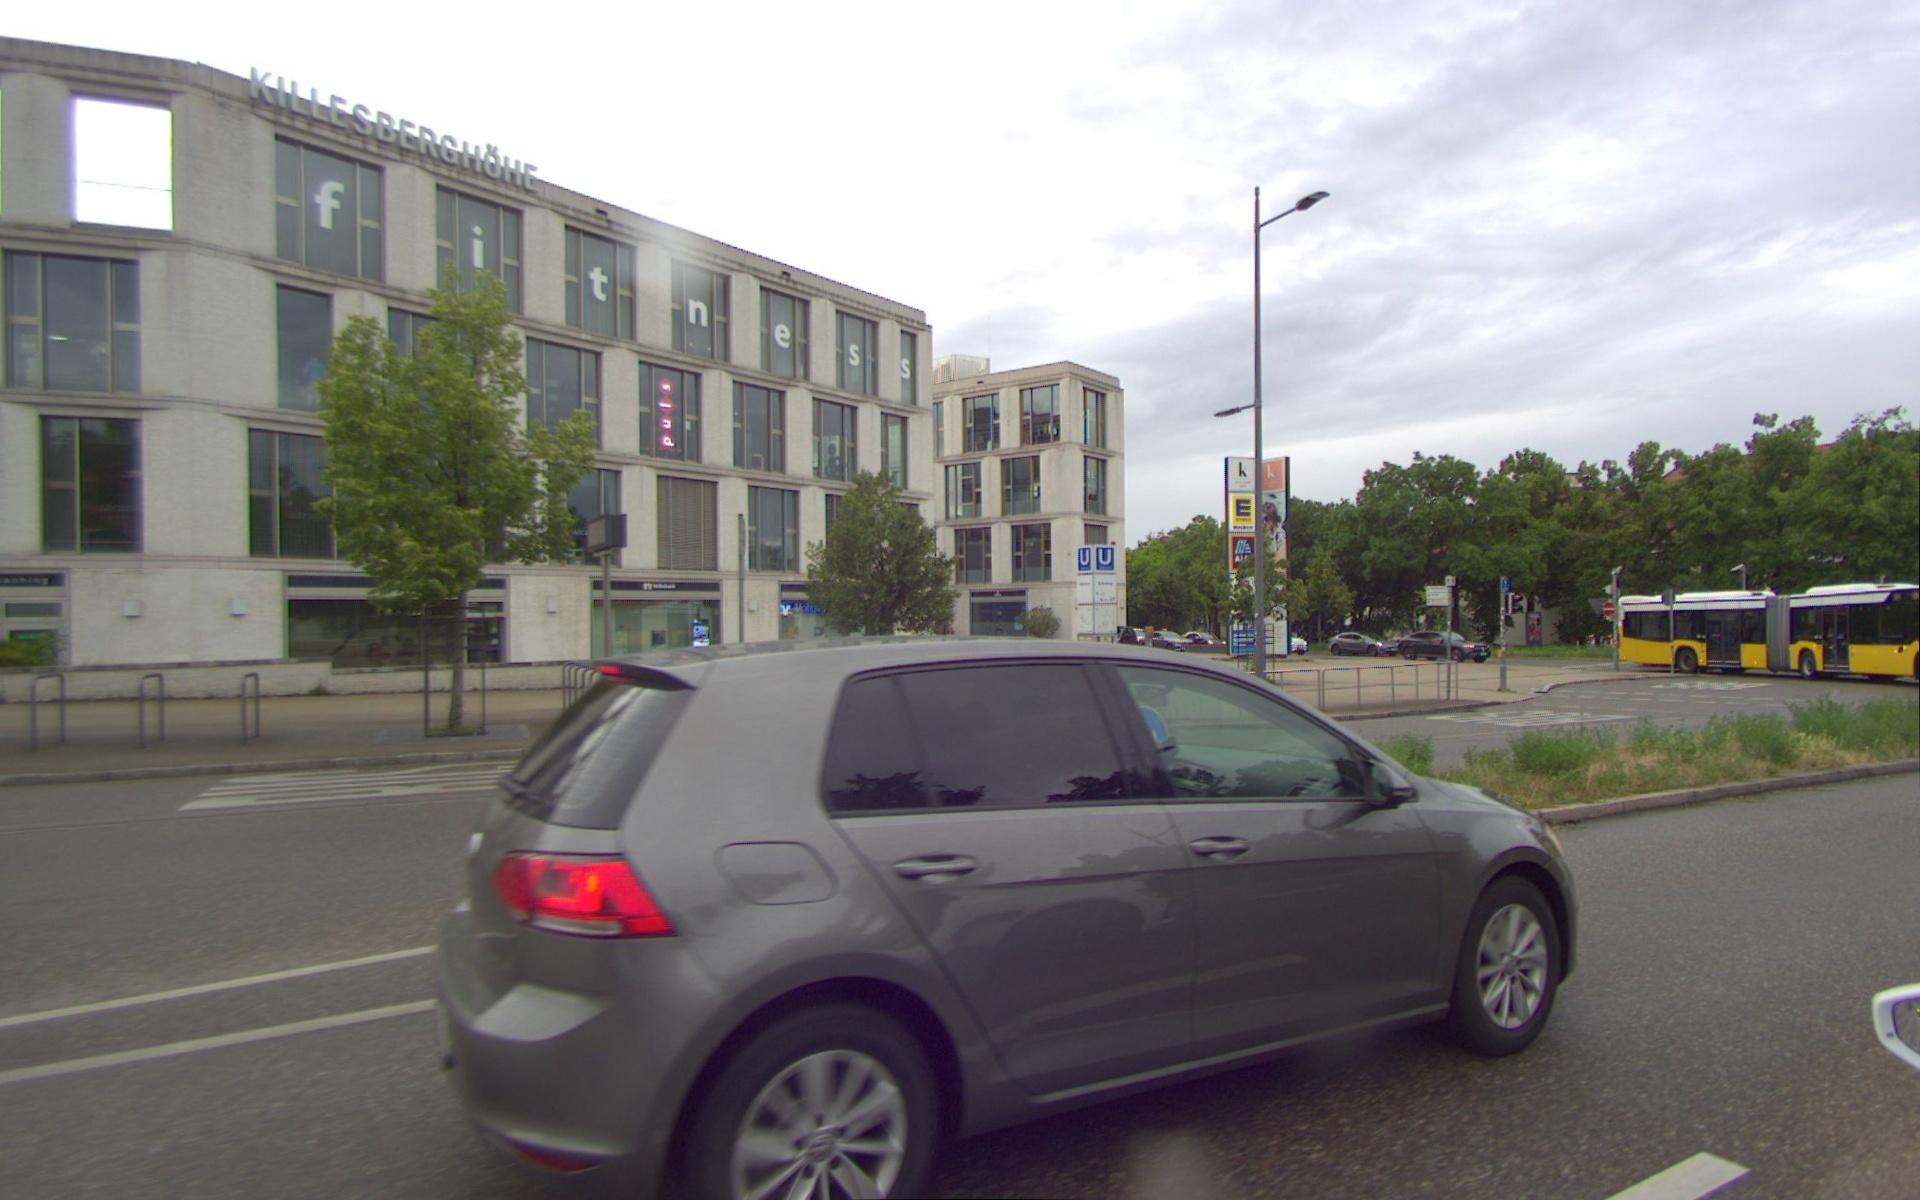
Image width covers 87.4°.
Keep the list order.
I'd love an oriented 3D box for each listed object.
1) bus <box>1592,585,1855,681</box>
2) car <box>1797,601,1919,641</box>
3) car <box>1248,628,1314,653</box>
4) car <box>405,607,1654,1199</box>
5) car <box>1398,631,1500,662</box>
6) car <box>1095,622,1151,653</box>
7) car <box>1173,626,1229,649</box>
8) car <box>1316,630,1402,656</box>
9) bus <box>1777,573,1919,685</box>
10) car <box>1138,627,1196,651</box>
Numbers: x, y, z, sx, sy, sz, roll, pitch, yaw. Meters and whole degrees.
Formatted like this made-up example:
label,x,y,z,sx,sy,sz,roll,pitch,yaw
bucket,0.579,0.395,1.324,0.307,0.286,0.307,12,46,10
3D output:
label,x,y,z,sx,sy,sz,roll,pitch,yaw
bus,29.506,1.284,39.482,2.846,3.351,8.561,1,-1,-10
car,35.088,0.798,38.356,1.981,1.444,4.473,1,-1,-36
car,20.080,2.542,62.961,1.823,1.444,3.757,1,-1,-28
car,0.415,0.825,3.581,4.148,1.448,1.797,1,-3,-30
car,25.222,2.373,51.953,1.975,1.444,4.428,1,-1,-28
car,9.673,2.206,59.466,1.749,1.754,3.988,0,-2,34
car,16.801,2.609,70.207,1.823,1.444,3.757,1,-1,-28
car,24.183,2.593,61.010,1.822,1.444,4.843,1,-1,-28
bus,28.856,0.889,30.050,2.839,3.144,9.763,0,-2,13
car,13.961,2.623,67.917,1.648,1.444,3.951,1,-1,-28
